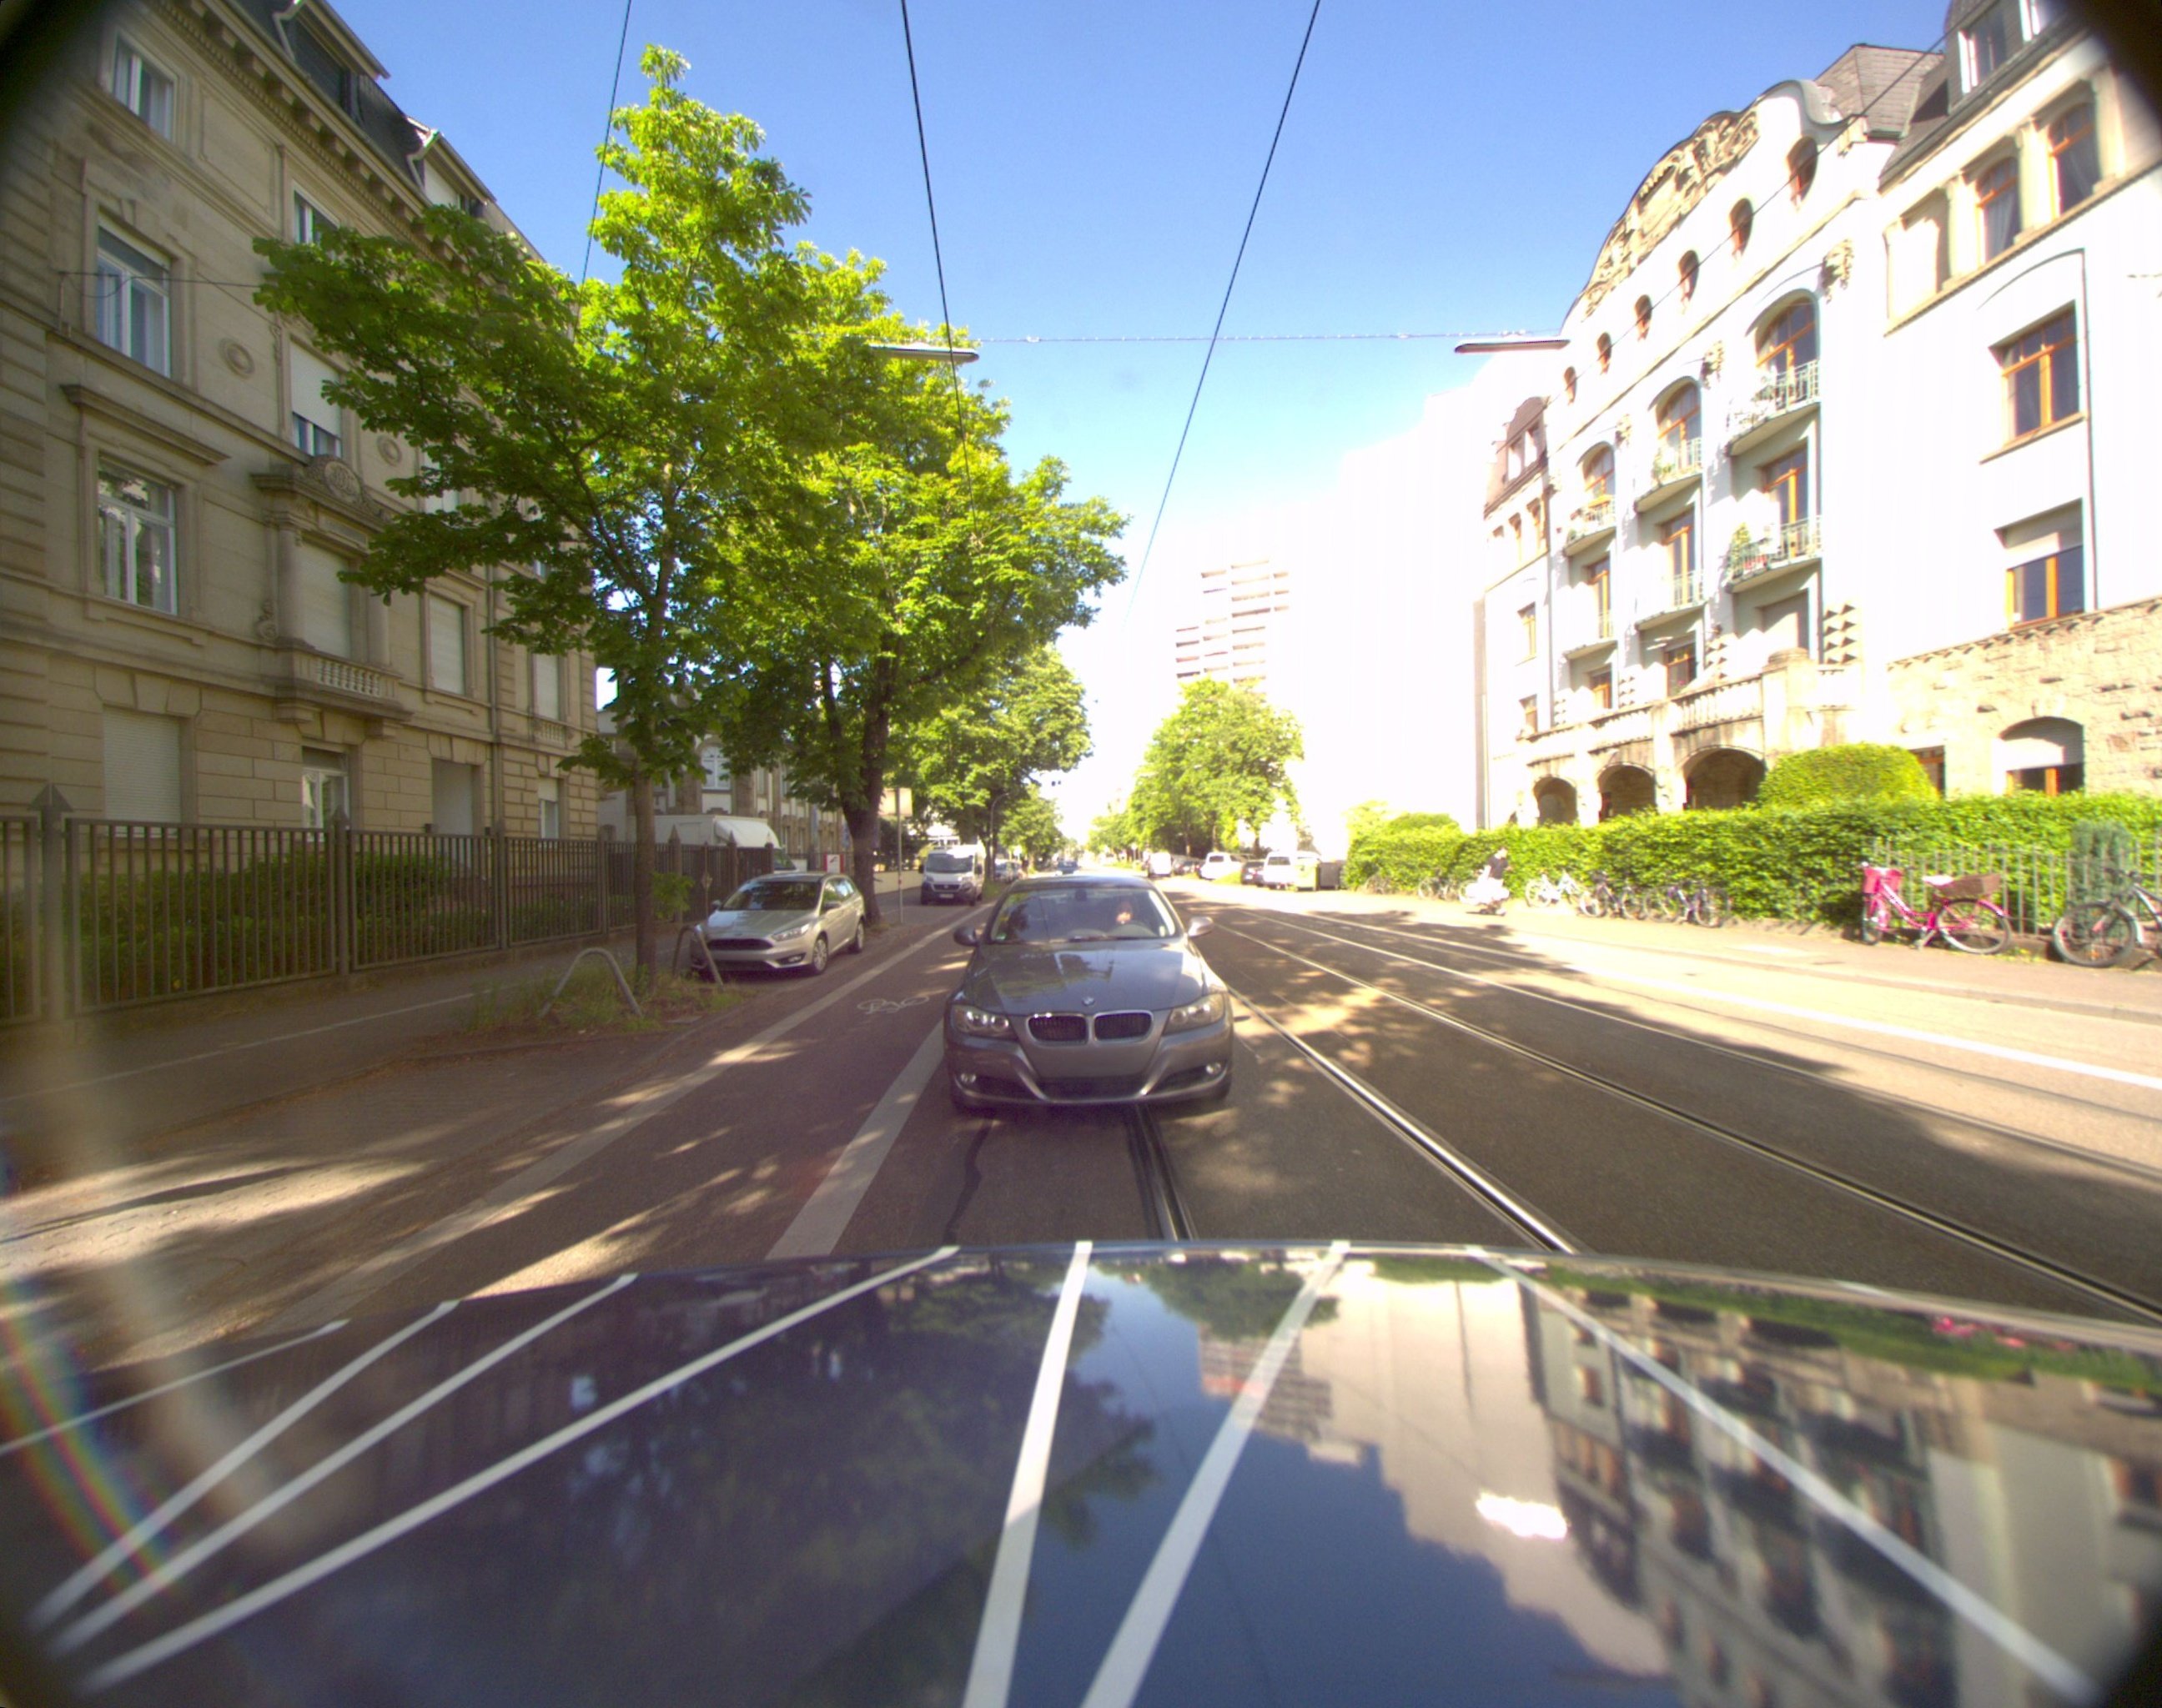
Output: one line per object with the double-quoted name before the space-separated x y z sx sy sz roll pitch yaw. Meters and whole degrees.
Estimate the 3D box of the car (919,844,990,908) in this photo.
"car" -4.979 0.774 30.784 2.132 2.329 5.803 0 1 -3

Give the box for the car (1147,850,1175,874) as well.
"car" 6.786 0.651 64.034 1.997 1.893 4.003 -2 1 11

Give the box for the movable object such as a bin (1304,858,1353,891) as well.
"movable object such as a bin" 11.115 0.902 34.214 1.501 1.309 2.096 -2 1 1

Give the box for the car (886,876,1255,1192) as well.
"car" -0.027 1.003 5.966 1.869 1.426 3.999 -2 1 1

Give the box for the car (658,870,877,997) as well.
"car" -4.706 1.094 12.191 1.877 1.534 4.364 0 1 -3

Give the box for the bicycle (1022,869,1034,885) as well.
"bicycle" -3.402 1.452 48.678 0.535 0.917 2.057 -2 1 1

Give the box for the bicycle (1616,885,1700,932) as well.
"bicycle" 10.915 1.008 14.430 0.405 0.757 1.581 -2 1 1

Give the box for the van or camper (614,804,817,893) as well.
"van or camper" -12.166 -0.136 25.190 6.721 2.612 2.126 -2 1 24

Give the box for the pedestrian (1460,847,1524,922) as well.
"pedestrian" 9.594 0.693 17.759 0.869 1.619 0.870 -6 1 1

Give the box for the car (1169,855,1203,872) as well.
"car" 9.668 0.851 69.901 2.757 1.417 1.226 -2 1 -16

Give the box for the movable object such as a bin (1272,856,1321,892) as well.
"movable object such as a bin" 9.401 0.847 33.245 1.512 1.424 2.096 -2 1 1

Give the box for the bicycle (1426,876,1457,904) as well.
"bicycle" 10.764 1.060 22.706 0.297 0.757 1.263 -2 1 1

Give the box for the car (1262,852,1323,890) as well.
"car" 10.247 0.827 36.717 3.194 1.763 1.456 1 -2 -45

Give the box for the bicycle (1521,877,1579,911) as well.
"bicycle" 11.790 1.002 19.107 1.262 0.789 0.297 -2 1 1

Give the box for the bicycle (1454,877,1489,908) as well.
"bicycle" 10.741 1.057 20.915 0.318 0.757 1.263 -2 1 1

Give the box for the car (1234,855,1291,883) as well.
"car" 10.263 0.855 43.028 2.757 1.427 1.458 -2 1 -16

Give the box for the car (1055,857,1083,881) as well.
"car" -0.816 1.026 54.587 1.828 1.559 3.999 -2 1 1

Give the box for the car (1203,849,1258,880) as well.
"car" 9.898 0.681 50.118 3.450 1.860 1.918 -3 1 -44

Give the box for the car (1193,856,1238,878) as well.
"car" 9.471 0.908 53.547 2.757 1.427 1.458 -2 1 -16

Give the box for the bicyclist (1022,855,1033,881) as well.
"bicyclist" -3.432 0.882 48.518 0.532 1.660 0.878 -2 1 1

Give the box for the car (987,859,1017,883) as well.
"car" -5.536 1.186 53.764 1.866 1.541 4.101 -2 1 -3

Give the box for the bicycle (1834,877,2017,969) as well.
"bicycle" 11.010 0.856 10.002 0.405 1.018 1.816 -2 1 1

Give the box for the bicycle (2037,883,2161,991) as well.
"bicycle" 11.078 0.860 7.742 0.405 1.018 1.816 -2 1 1

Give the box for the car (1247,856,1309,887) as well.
"car" 10.266 0.892 39.661 2.757 1.427 1.458 -2 1 -16

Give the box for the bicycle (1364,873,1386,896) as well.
"bicycle" 10.631 1.099 27.459 0.297 0.757 1.263 -2 1 1

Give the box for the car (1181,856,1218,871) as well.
"car" 9.764 0.802 62.700 2.757 1.083 1.226 -2 1 -16

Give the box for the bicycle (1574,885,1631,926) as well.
"bicycle" 10.914 1.059 15.936 0.339 0.757 1.263 -2 1 1
